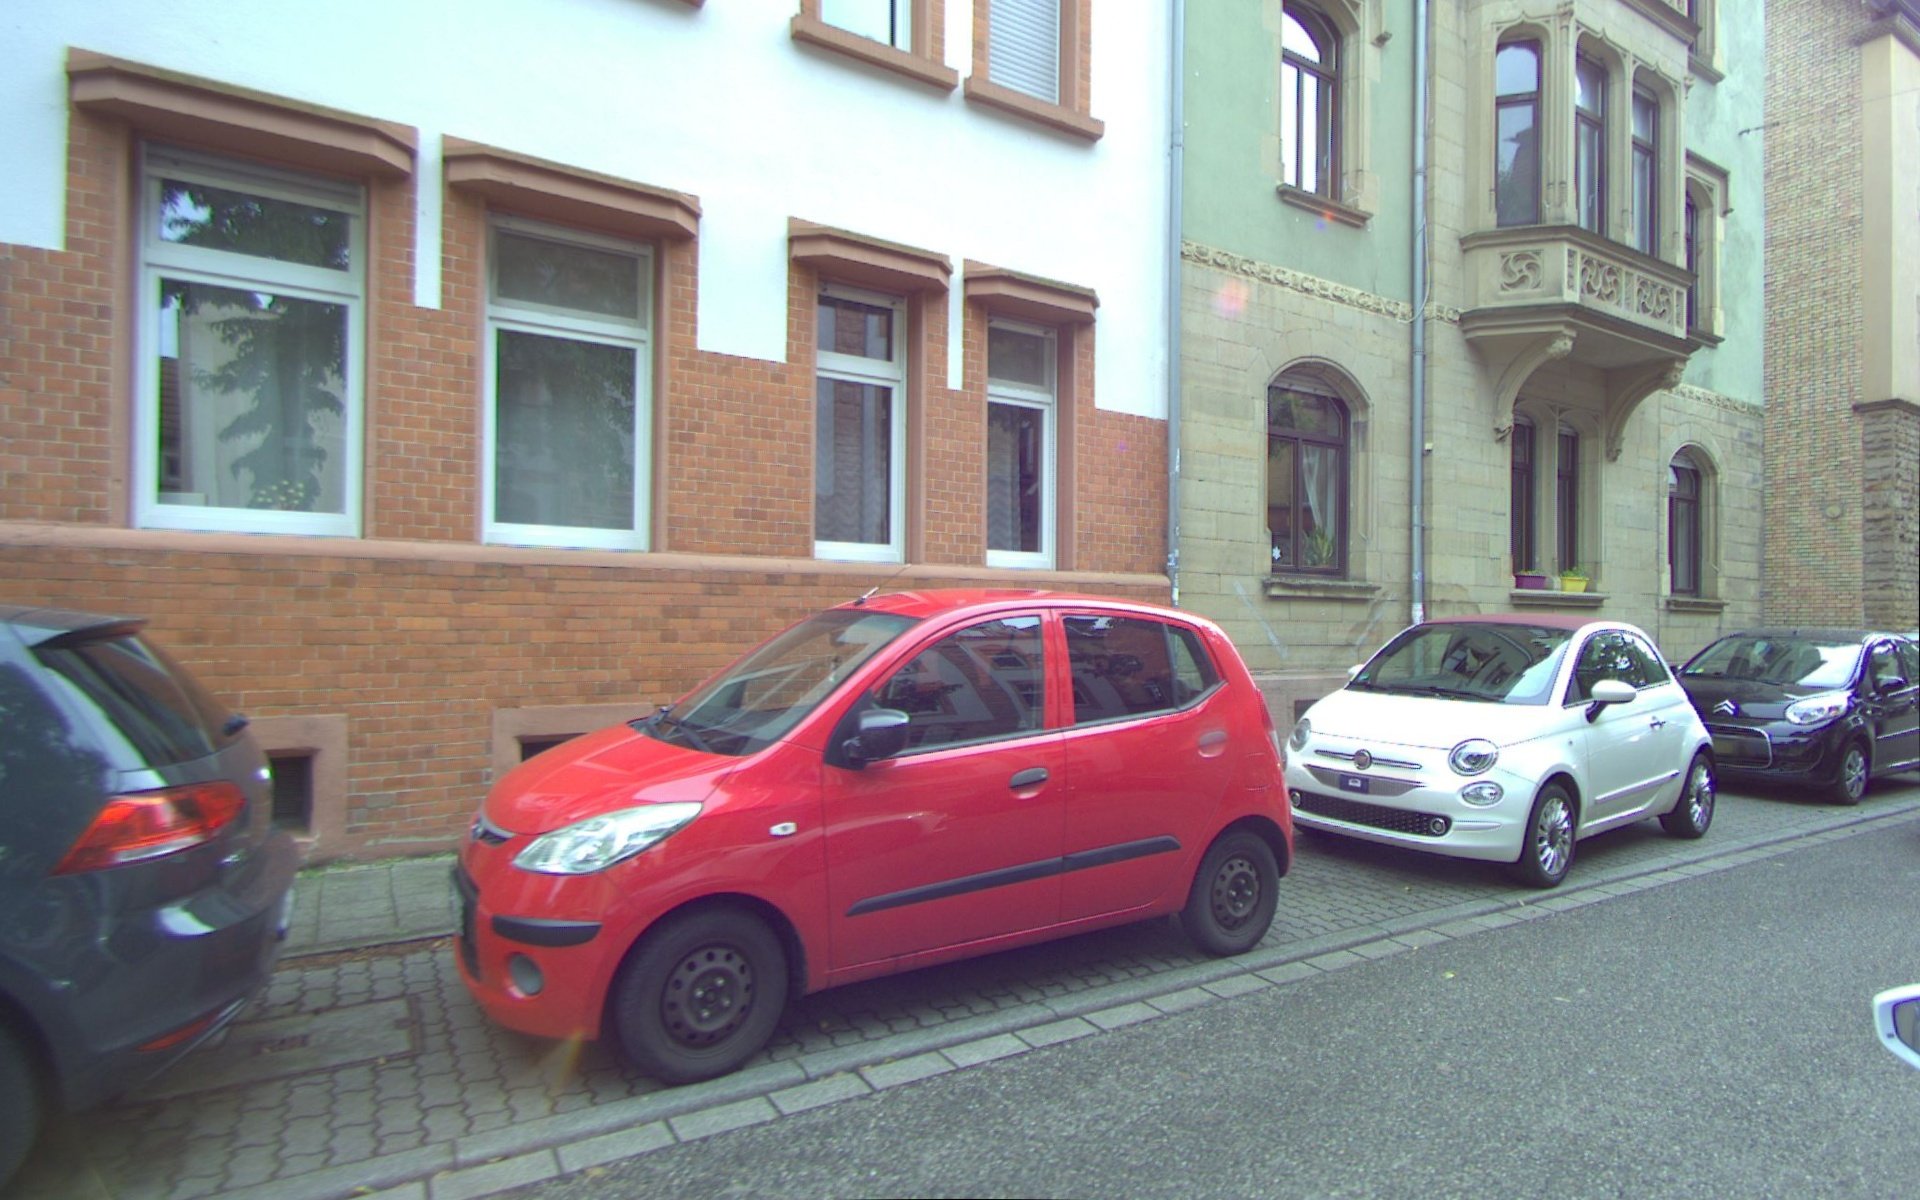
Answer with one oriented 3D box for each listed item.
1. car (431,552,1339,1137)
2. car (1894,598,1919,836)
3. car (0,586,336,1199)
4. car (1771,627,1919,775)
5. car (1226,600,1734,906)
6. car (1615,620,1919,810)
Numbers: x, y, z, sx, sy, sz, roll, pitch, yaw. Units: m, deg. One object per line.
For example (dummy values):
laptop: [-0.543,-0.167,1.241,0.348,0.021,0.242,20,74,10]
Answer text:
car: [-0.180,0.665,4.215,3.528,1.550,1.457,1,0,-32]
car: [8.837,0.884,7.382,4.159,1.651,1.801,3,-2,-31]
car: [-3.612,0.667,2.104,3.874,1.436,1.457,1,0,-32]
car: [11.092,1.064,11.599,3.768,1.453,1.580,1,0,-33]
car: [3.597,0.802,6.762,3.520,1.531,1.655,1,-1,-36]
car: [7.850,0.942,9.450,3.416,1.453,1.509,1,0,-31]
